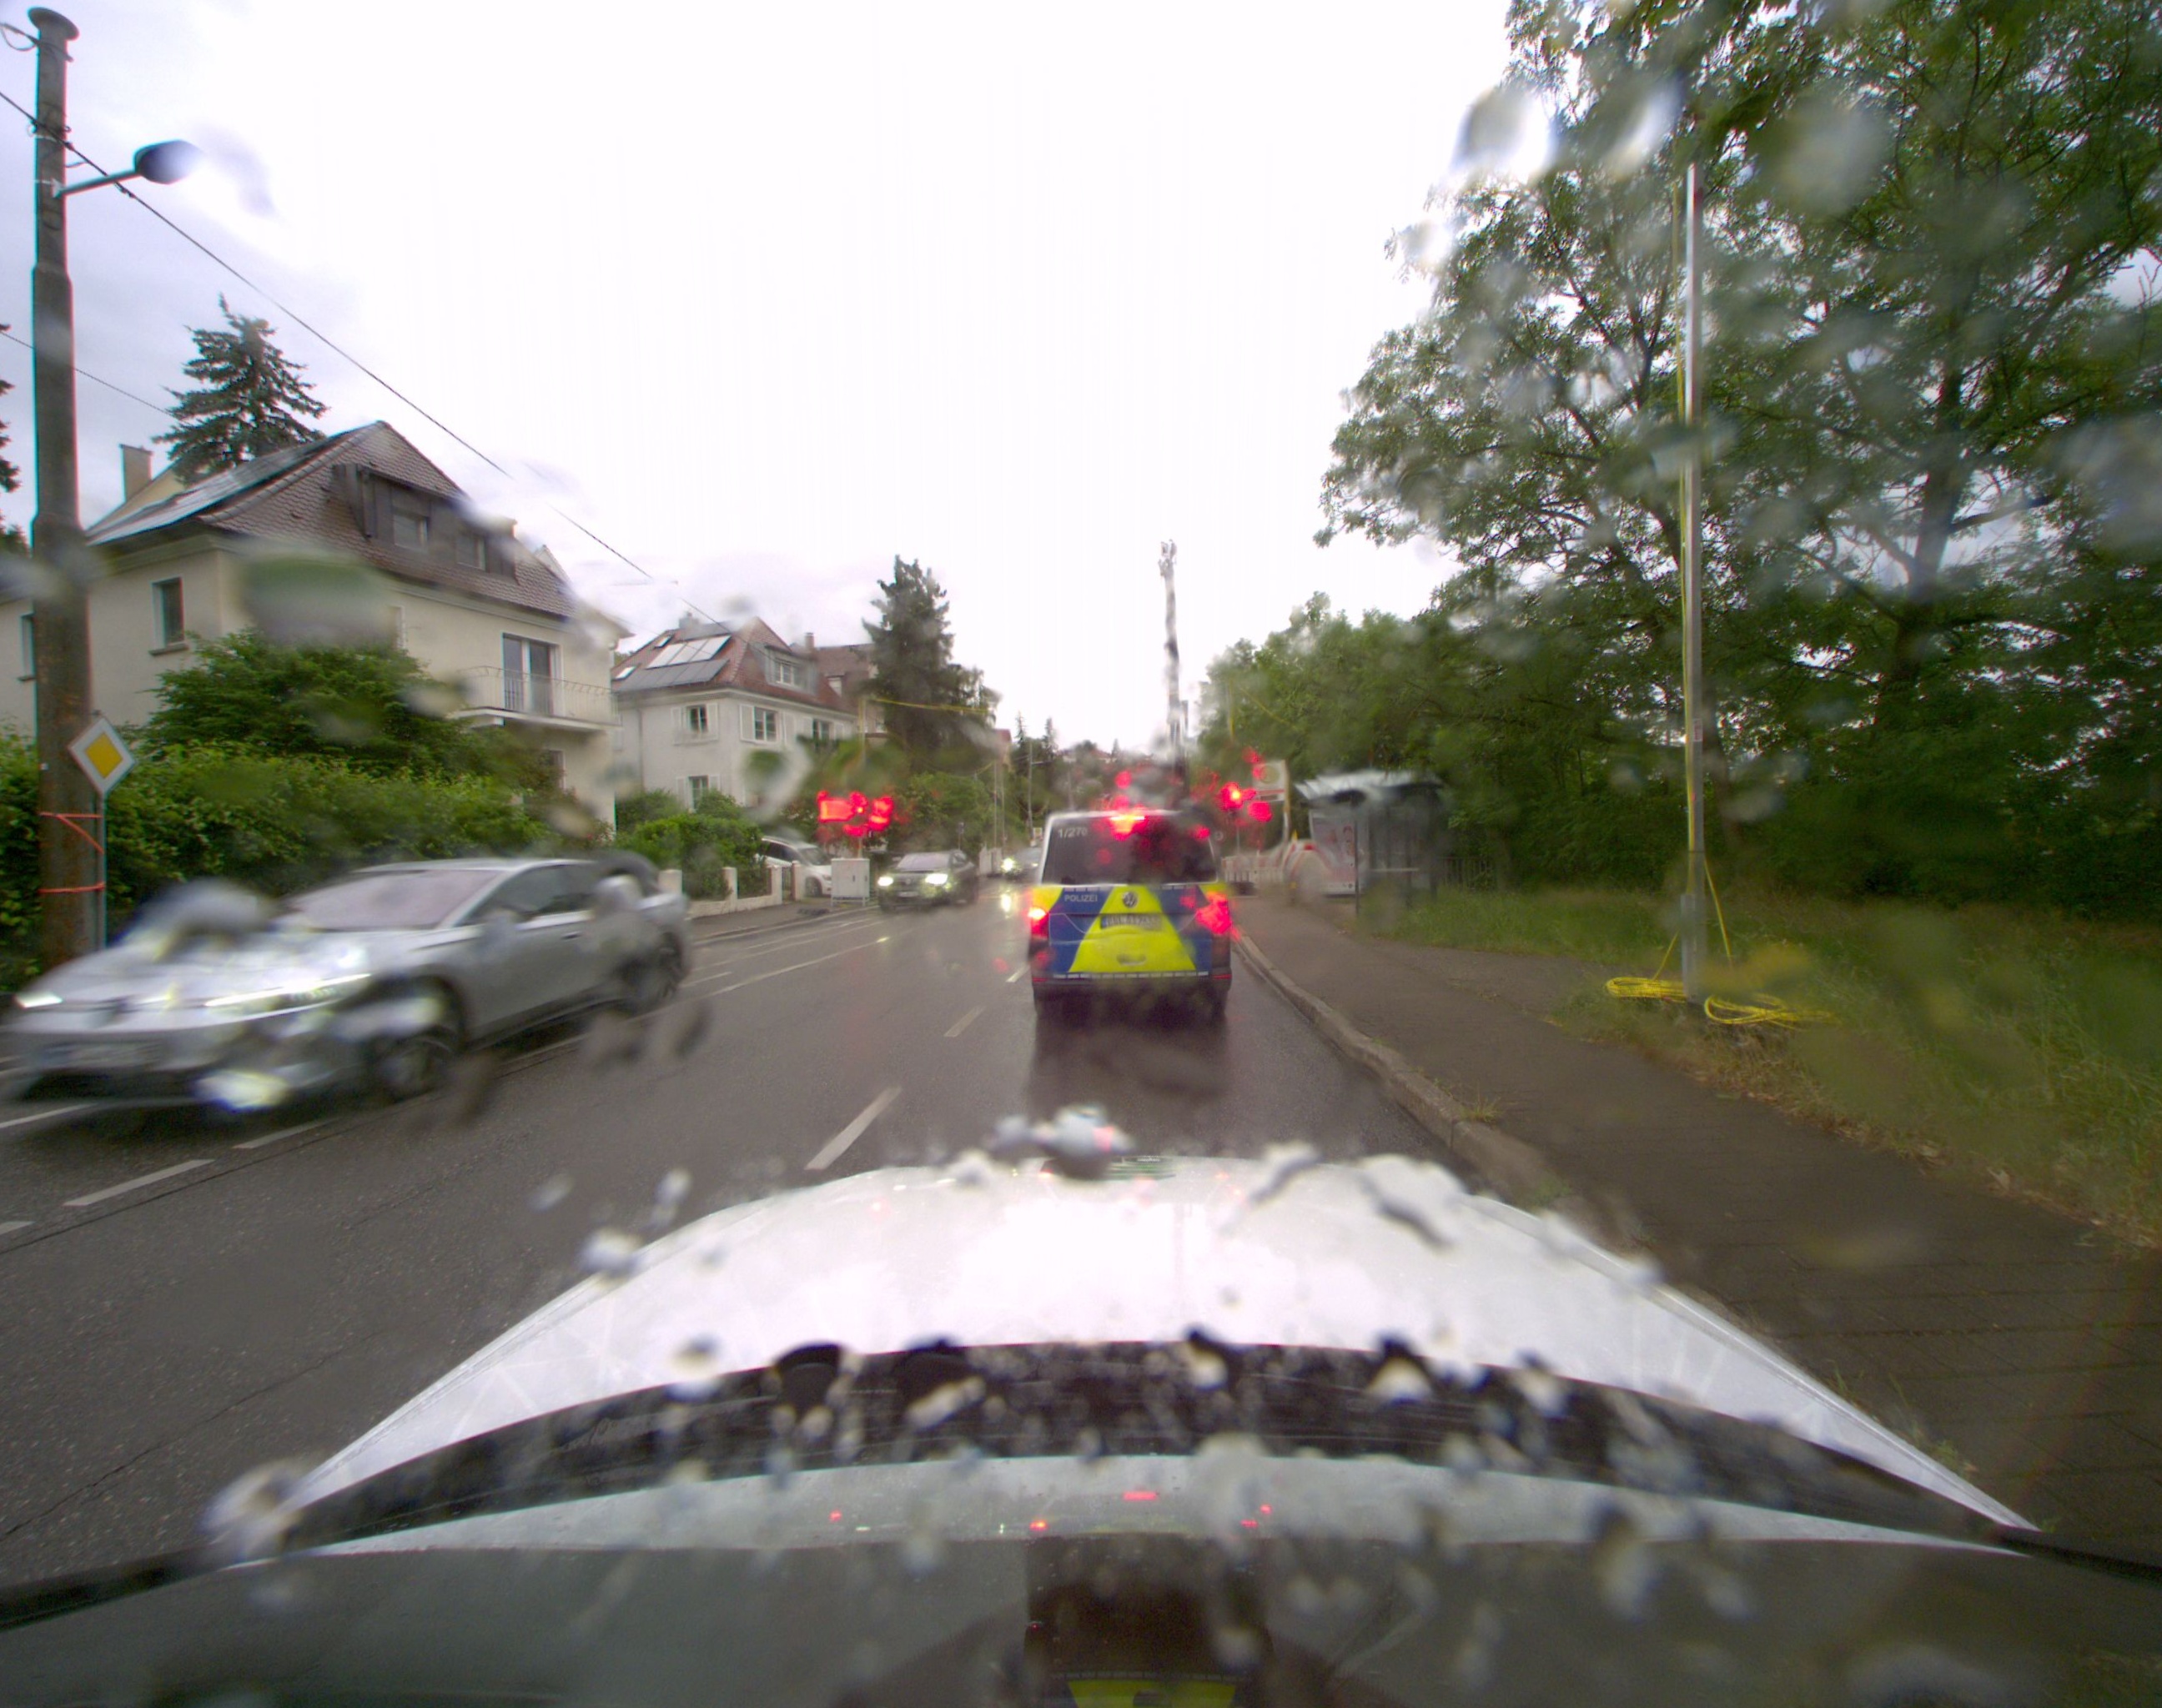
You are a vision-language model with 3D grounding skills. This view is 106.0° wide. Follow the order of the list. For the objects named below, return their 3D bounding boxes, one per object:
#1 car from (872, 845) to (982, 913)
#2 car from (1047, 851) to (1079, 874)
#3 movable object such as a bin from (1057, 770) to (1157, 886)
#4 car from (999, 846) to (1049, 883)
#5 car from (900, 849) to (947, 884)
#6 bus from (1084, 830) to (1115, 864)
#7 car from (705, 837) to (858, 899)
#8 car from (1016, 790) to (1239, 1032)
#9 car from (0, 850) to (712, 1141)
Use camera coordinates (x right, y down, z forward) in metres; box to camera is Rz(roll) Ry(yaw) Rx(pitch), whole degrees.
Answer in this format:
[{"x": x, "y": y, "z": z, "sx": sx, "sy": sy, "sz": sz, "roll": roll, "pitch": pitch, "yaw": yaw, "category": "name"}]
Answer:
[{"x": -4.066, "y": 0.633, "z": 22.204, "sx": 1.858, "sy": 1.621, "sz": 4.169, "roll": -2, "pitch": 0, "yaw": 4, "category": "car"}, {"x": -1.177, "y": 0.560, "z": 54.903, "sx": 1.756, "sy": 1.463, "sz": 3.891, "roll": 0, "pitch": 0, "yaw": 4, "category": "car"}, {"x": 1.104, "y": -0.926, "z": 31.773, "sx": 2.809, "sy": 4.177, "sz": 4.400, "roll": 0, "pitch": 0, "yaw": 17, "category": "movable object such as a bin"}, {"x": -2.735, "y": 0.492, "z": 40.315, "sx": 1.986, "sy": 1.674, "sz": 4.690, "roll": 0, "pitch": 0, "yaw": 2, "category": "car"}, {"x": -7.456, "y": 0.560, "z": 38.300, "sx": 1.770, "sy": 1.486, "sz": 3.720, "roll": 0, "pitch": 1, "yaw": -17, "category": "car"}, {"x": 2.304, "y": -0.793, "z": 96.401, "sx": 2.827, "sy": 3.718, "sz": 12.022, "roll": 0, "pitch": 0, "yaw": 5, "category": "bus"}, {"x": -10.282, "y": 0.462, "z": 28.057, "sx": 4.599, "sy": 2.007, "sz": 1.907, "roll": 0, "pitch": 0, "yaw": 13, "category": "car"}, {"x": 0.461, "y": 0.485, "z": 8.942, "sx": 1.886, "sy": 2.050, "sz": 4.002, "roll": 0, "pitch": 0, "yaw": 2, "category": "car"}, {"x": -5.098, "y": 0.766, "z": 6.708, "sx": 1.846, "sy": 1.527, "sz": 4.820, "roll": 0, "pitch": 0, "yaw": 1, "category": "car"}]
